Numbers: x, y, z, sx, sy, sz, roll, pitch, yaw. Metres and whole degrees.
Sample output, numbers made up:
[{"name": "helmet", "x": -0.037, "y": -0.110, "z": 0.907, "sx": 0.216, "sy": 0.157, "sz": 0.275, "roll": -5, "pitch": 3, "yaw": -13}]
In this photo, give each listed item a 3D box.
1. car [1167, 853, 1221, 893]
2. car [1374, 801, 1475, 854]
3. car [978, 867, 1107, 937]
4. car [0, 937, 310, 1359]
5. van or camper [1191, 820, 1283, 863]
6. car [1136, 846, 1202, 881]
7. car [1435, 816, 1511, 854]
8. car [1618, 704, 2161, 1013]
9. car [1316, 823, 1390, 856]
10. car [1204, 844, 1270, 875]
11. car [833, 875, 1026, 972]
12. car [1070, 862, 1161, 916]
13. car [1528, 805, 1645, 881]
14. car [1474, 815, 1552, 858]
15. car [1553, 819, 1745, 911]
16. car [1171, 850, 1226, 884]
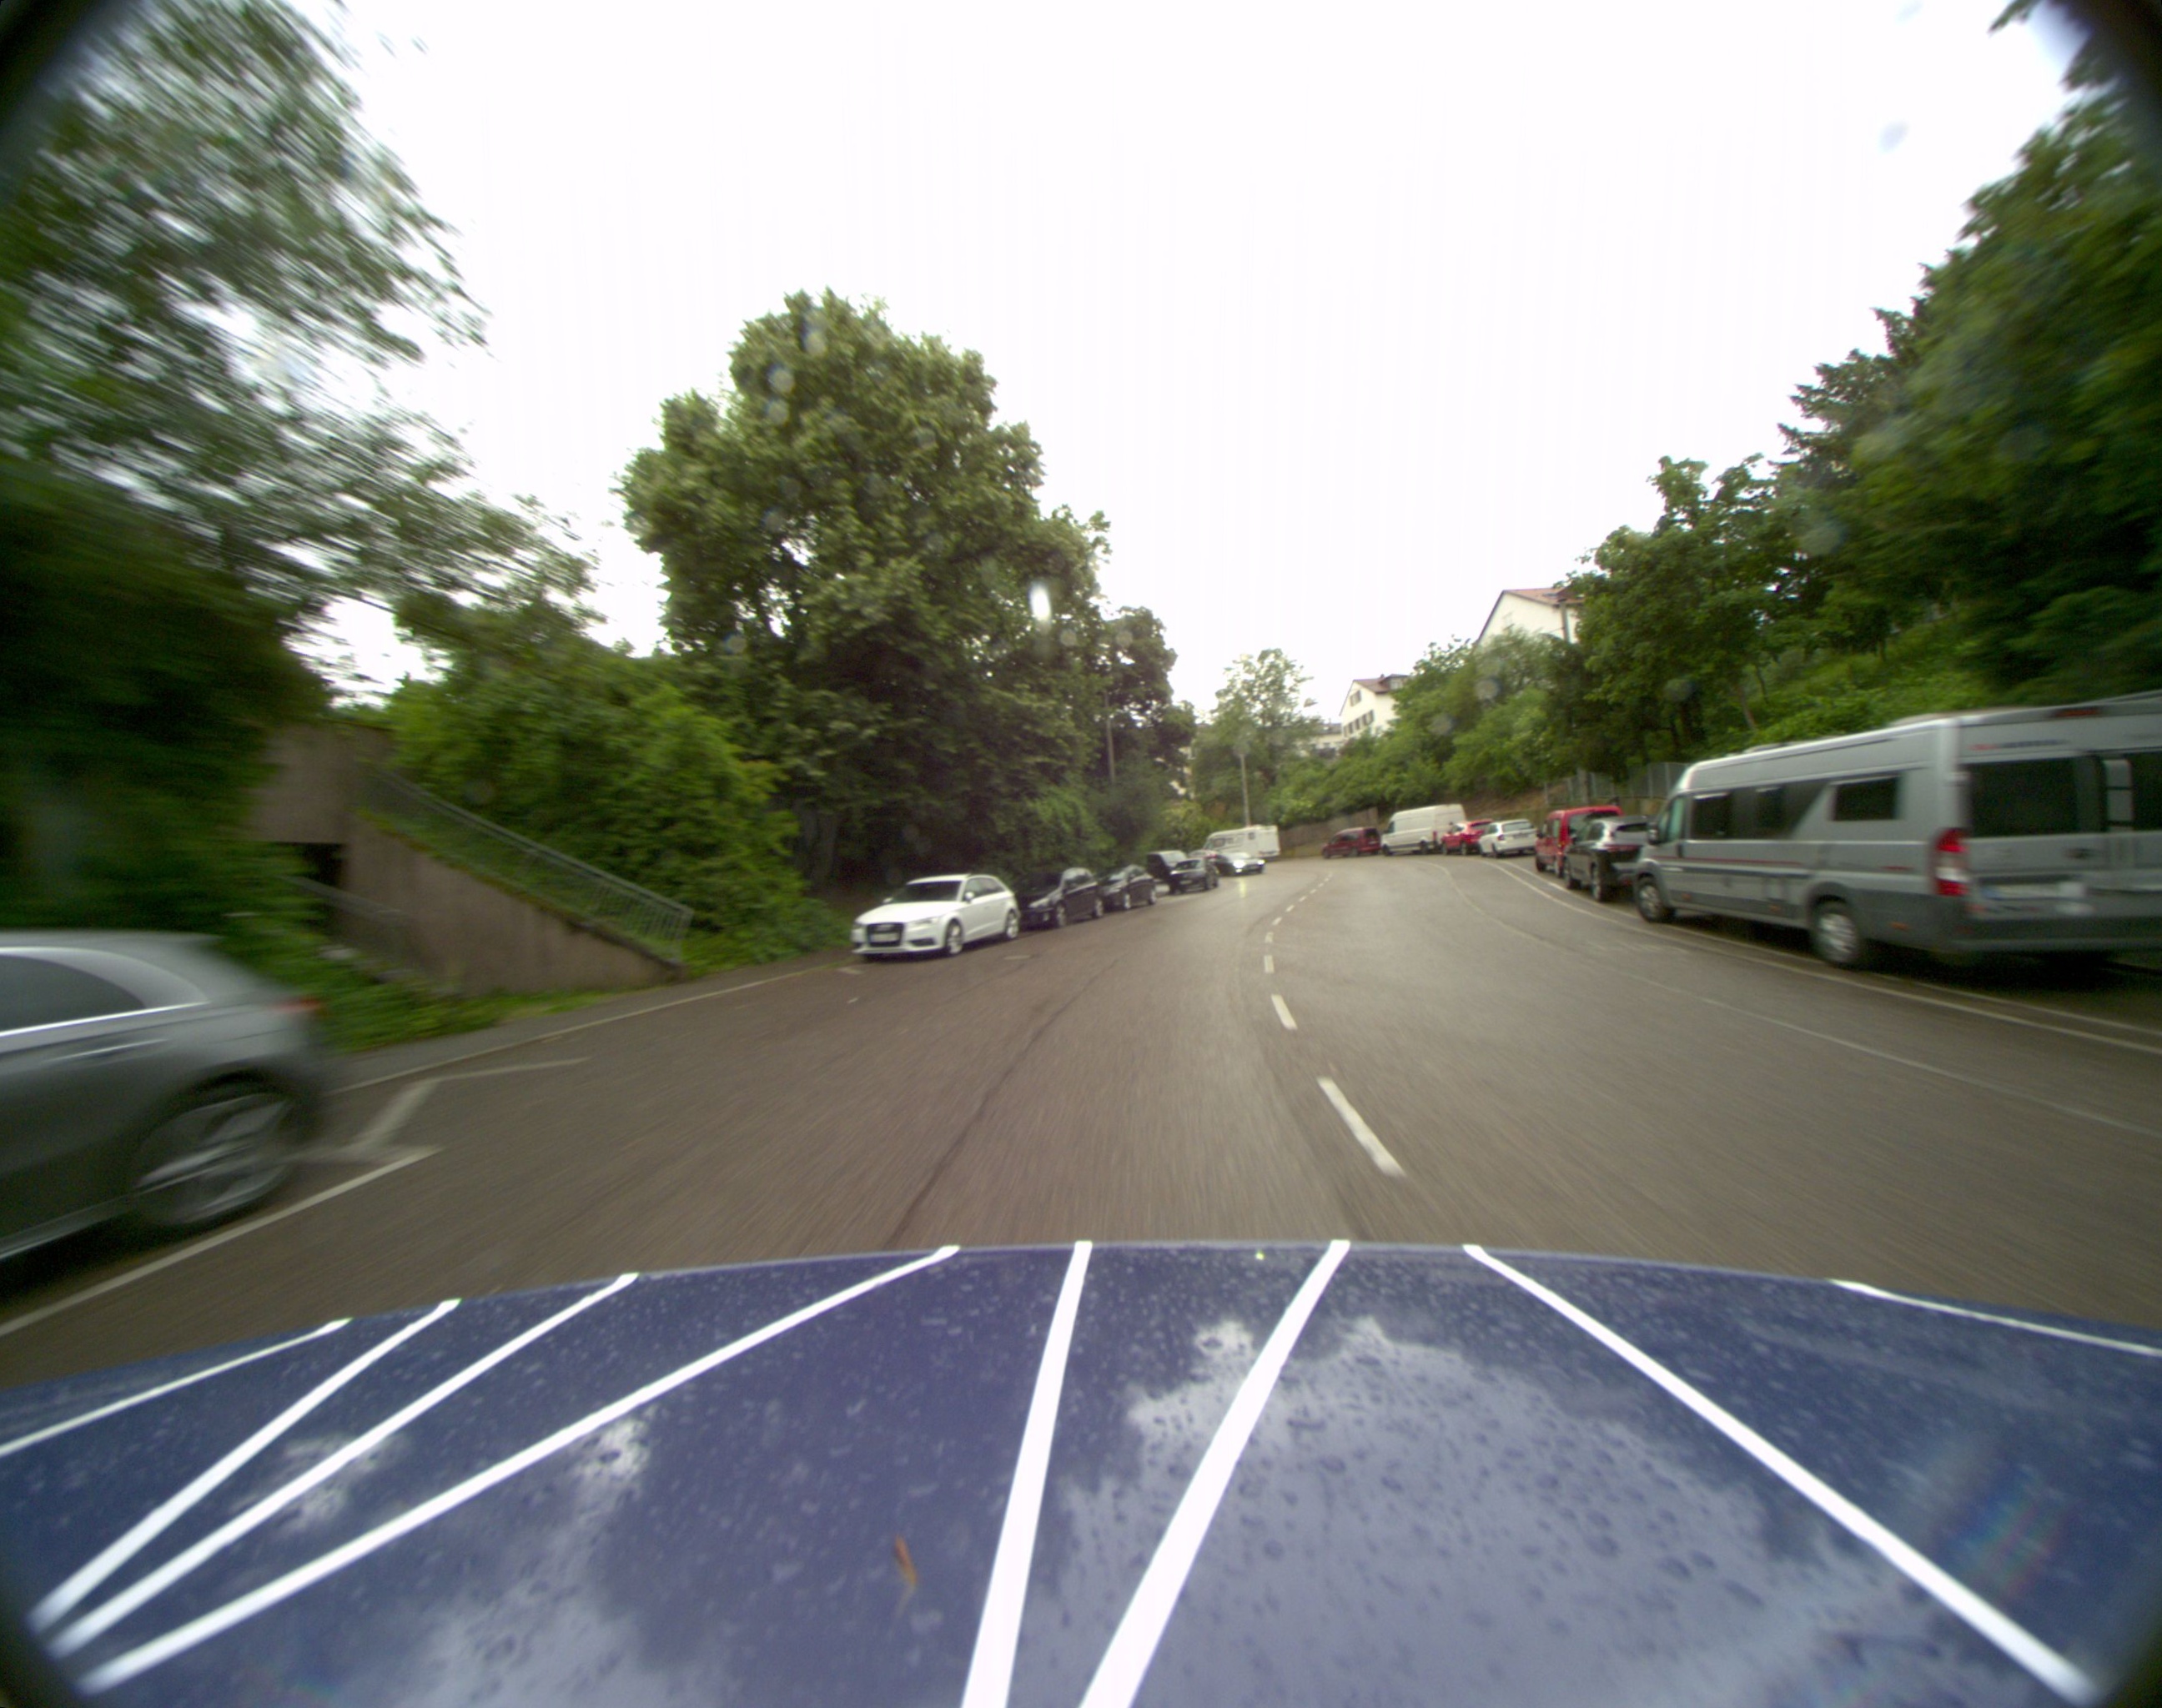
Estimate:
[{"name": "car", "x": 5.259, "y": 0.841, "z": 35.019, "sx": 1.629, "sy": 1.479, "sz": 3.749, "roll": -7, "pitch": -1, "yaw": 19}, {"name": "car", "x": 19.409, "y": -1.414, "z": 43.398, "sx": 2.040, "sy": 2.516, "sz": 6.821, "roll": -6, "pitch": 0, "yaw": -4}, {"name": "car", "x": -0.846, "y": 1.157, "z": 19.350, "sx": 1.662, "sy": 1.415, "sz": 3.975, "roll": -5, "pitch": -1, "yaw": 22}, {"name": "car", "x": -4.872, "y": 1.146, "z": 1.810, "sx": 1.724, "sy": 1.435, "sz": 4.126, "roll": -2, "pitch": -1, "yaw": 2}, {"name": "van or camper", "x": 12.649, "y": -0.974, "z": 62.215, "sx": 2.462, "sy": 2.950, "sz": 7.509, "roll": -6, "pitch": 1, "yaw": -36}, {"name": "car", "x": 5.360, "y": 0.605, "z": 47.245, "sx": 2.001, "sy": 1.876, "sz": 5.029, "roll": -7, "pitch": 1, "yaw": -18}, {"name": "car", "x": 18.970, "y": -0.894, "z": 36.982, "sx": 1.779, "sy": 1.576, "sz": 4.435, "roll": -6, "pitch": 0, "yaw": 8}, {"name": "car", "x": 9.232, "y": -0.095, "z": 9.400, "sx": 2.077, "sy": 2.536, "sz": 6.350, "roll": -1, "pitch": 3, "yaw": 14}, {"name": "car", "x": 18.416, "y": -0.942, "z": 51.636, "sx": 2.001, "sy": 1.865, "sz": 4.815, "roll": -6, "pitch": 0, "yaw": -20}, {"name": "car", "x": 9.363, "y": 0.362, "z": 46.088, "sx": 1.901, "sy": 1.530, "sz": 4.494, "roll": -7, "pitch": 1, "yaw": -16}, {"name": "car", "x": -2.677, "y": 1.212, "z": 14.501, "sx": 1.757, "sy": 1.392, "sz": 4.101, "roll": -4, "pitch": -1, "yaw": 17}, {"name": "car", "x": 1.218, "y": 1.102, "z": 25.018, "sx": 1.592, "sy": 1.381, "sz": 3.828, "roll": -7, "pitch": -2, "yaw": 24}, {"name": "car", "x": 13.692, "y": -0.370, "z": 20.844, "sx": 1.752, "sy": 1.758, "sz": 4.141, "roll": -5, "pitch": 1, "yaw": 22}, {"name": "car", "x": 17.790, "y": -0.708, "z": 31.480, "sx": 1.741, "sy": 1.470, "sz": 4.203, "roll": -7, "pitch": -1, "yaw": 17}, {"name": "car", "x": 11.405, "y": 0.122, "z": 15.662, "sx": 1.996, "sy": 1.610, "sz": 4.402, "roll": -2, "pitch": 2, "yaw": 20}, {"name": "car", "x": 6.338, "y": 0.709, "z": 41.514, "sx": 1.906, "sy": 1.479, "sz": 4.874, "roll": -7, "pitch": -1, "yaw": -3}]
